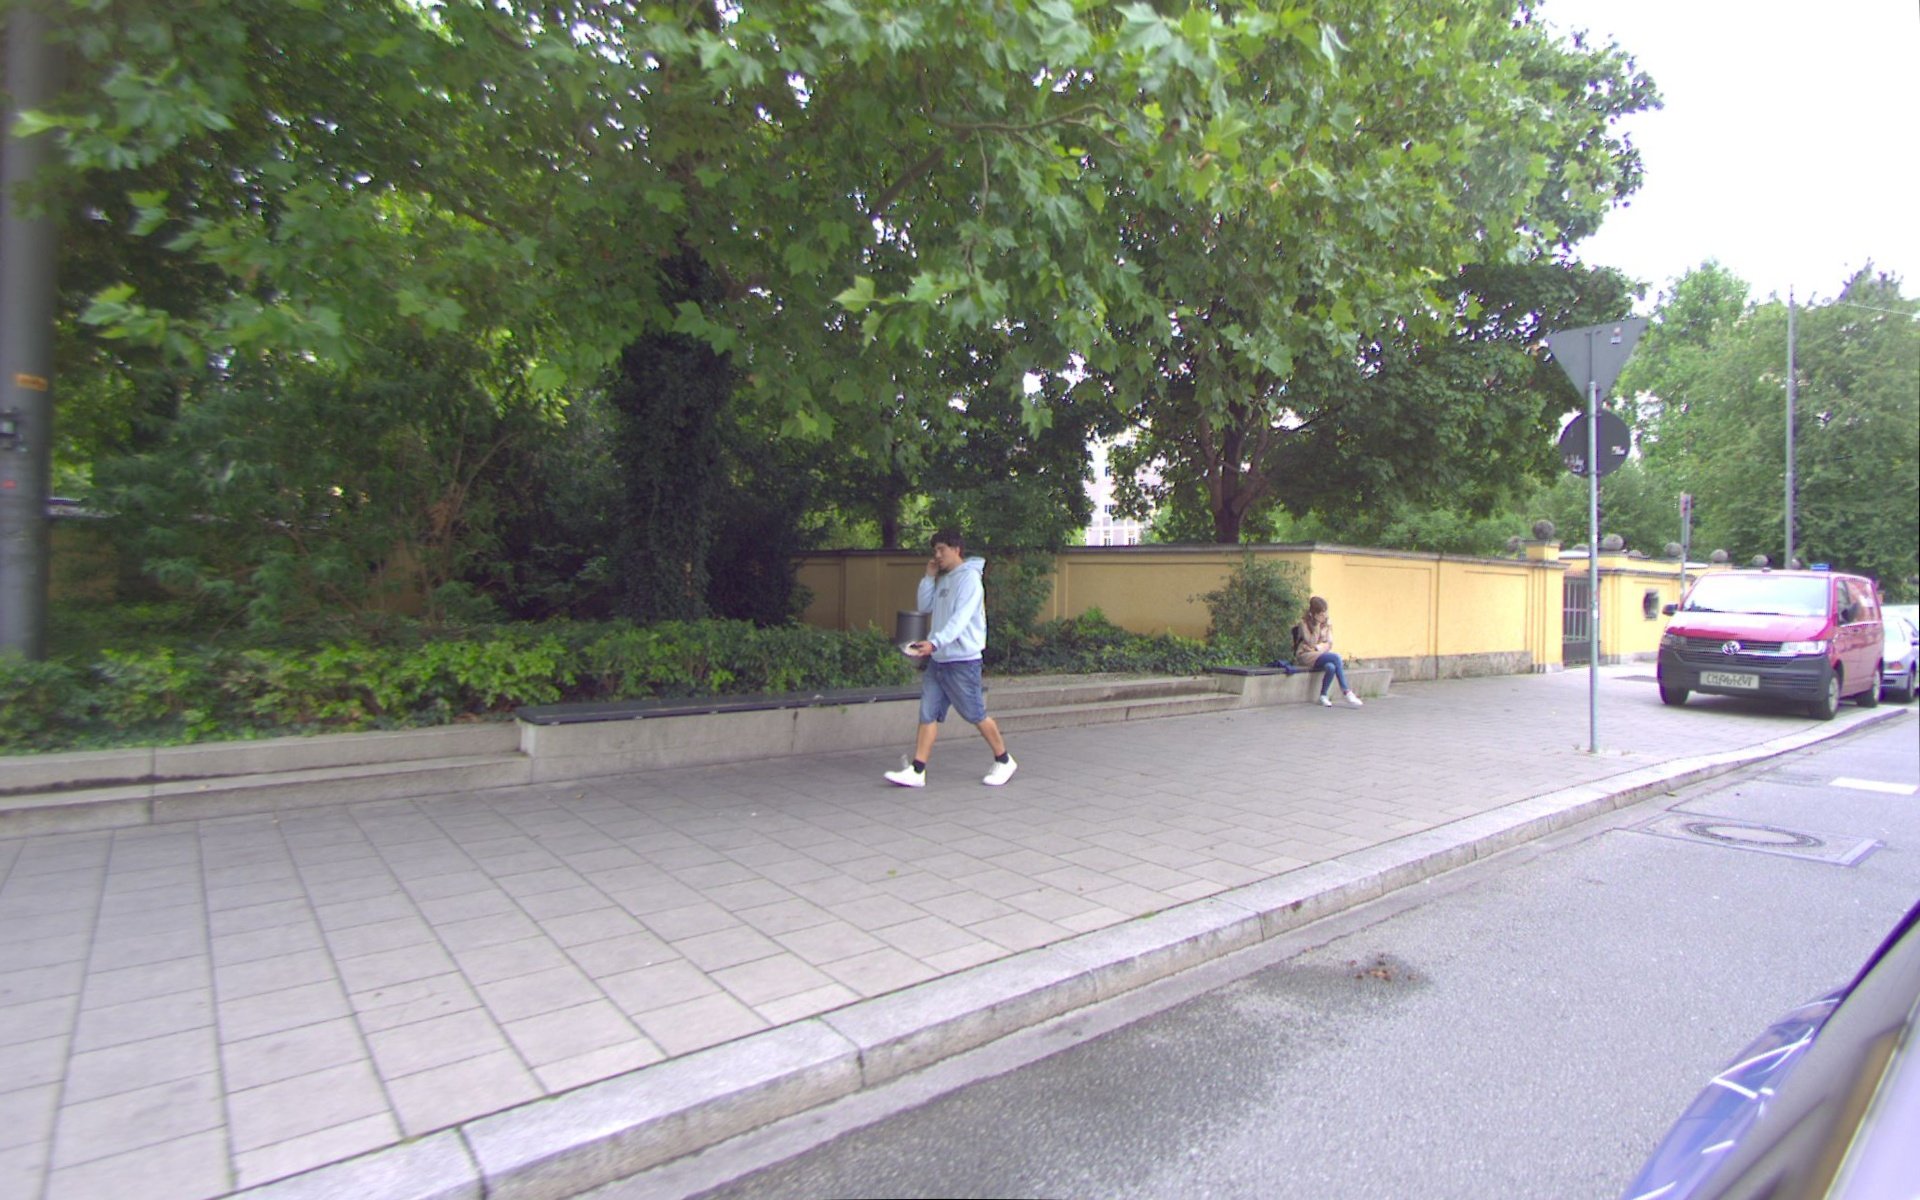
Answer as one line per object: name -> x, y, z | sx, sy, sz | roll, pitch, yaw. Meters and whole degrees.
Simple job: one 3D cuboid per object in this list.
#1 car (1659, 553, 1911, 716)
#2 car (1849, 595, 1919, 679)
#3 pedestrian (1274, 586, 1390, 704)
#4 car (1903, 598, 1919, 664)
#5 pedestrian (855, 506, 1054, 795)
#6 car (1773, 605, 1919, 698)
car -> 11.790, 0.415, 14.348 | 4.800, 1.945, 1.878 | 0, 0, -40
car -> 20.767, 0.740, 21.719 | 4.739, 1.674, 1.887 | 0, -1, -41
pedestrian -> 4.549, 0.520, 12.402 | 0.860, 1.355, 1.013 | 1, 1, -35
car -> 24.412, 0.742, 24.840 | 3.628, 1.559, 1.486 | 0, -1, -41
pedestrian -> -0.043, 0.304, 6.953 | 1.032, 1.793, 0.876 | 0, 1, -37
car -> 16.095, 0.822, 17.973 | 4.293, 1.467, 1.887 | 0, -1, -42
